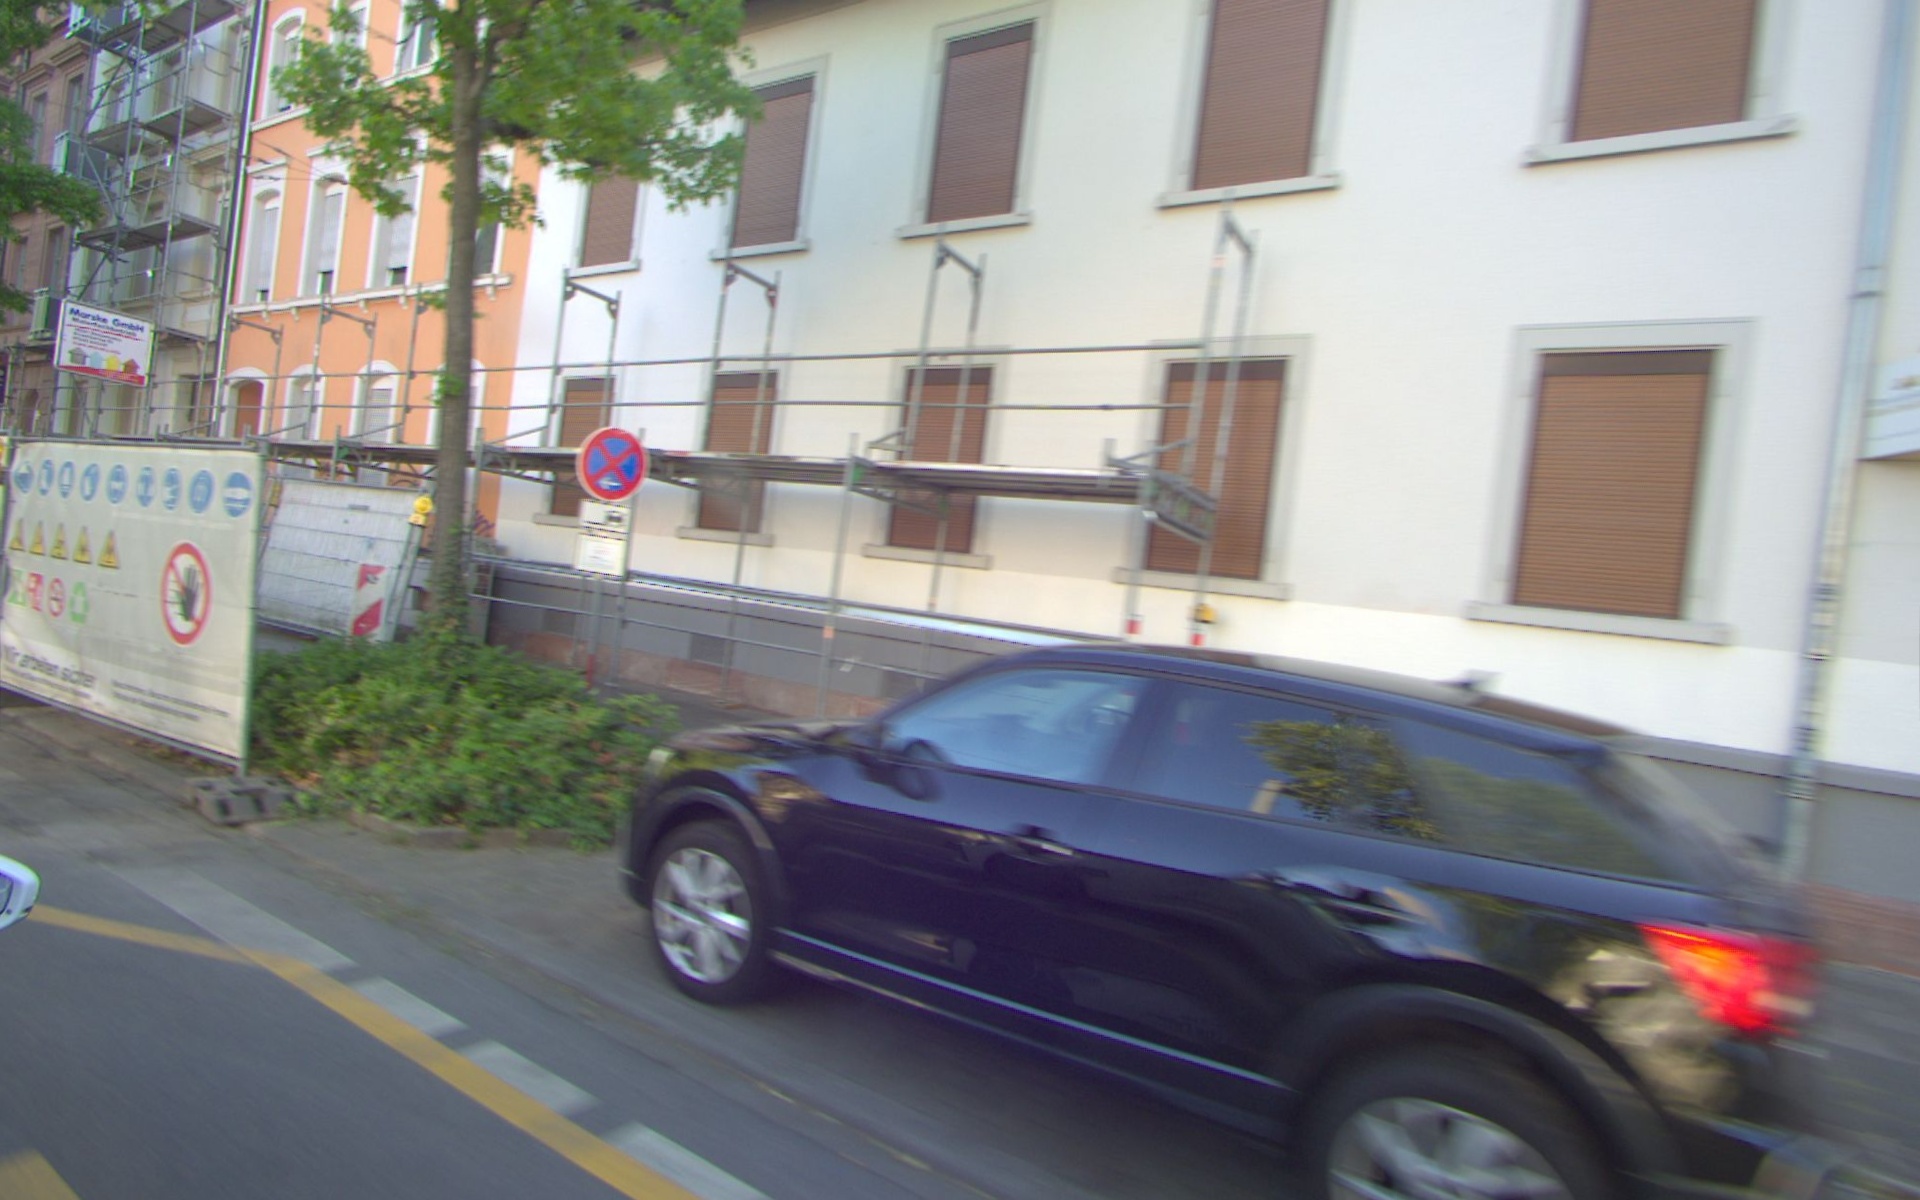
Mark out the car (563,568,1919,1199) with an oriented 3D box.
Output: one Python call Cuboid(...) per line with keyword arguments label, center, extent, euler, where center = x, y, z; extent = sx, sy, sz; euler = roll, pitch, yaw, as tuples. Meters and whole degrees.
Cuboid(label="car", center=(0.590, 0.877, 3.702), extent=(4.044, 1.502, 1.764), euler=(7, 0, 35))
